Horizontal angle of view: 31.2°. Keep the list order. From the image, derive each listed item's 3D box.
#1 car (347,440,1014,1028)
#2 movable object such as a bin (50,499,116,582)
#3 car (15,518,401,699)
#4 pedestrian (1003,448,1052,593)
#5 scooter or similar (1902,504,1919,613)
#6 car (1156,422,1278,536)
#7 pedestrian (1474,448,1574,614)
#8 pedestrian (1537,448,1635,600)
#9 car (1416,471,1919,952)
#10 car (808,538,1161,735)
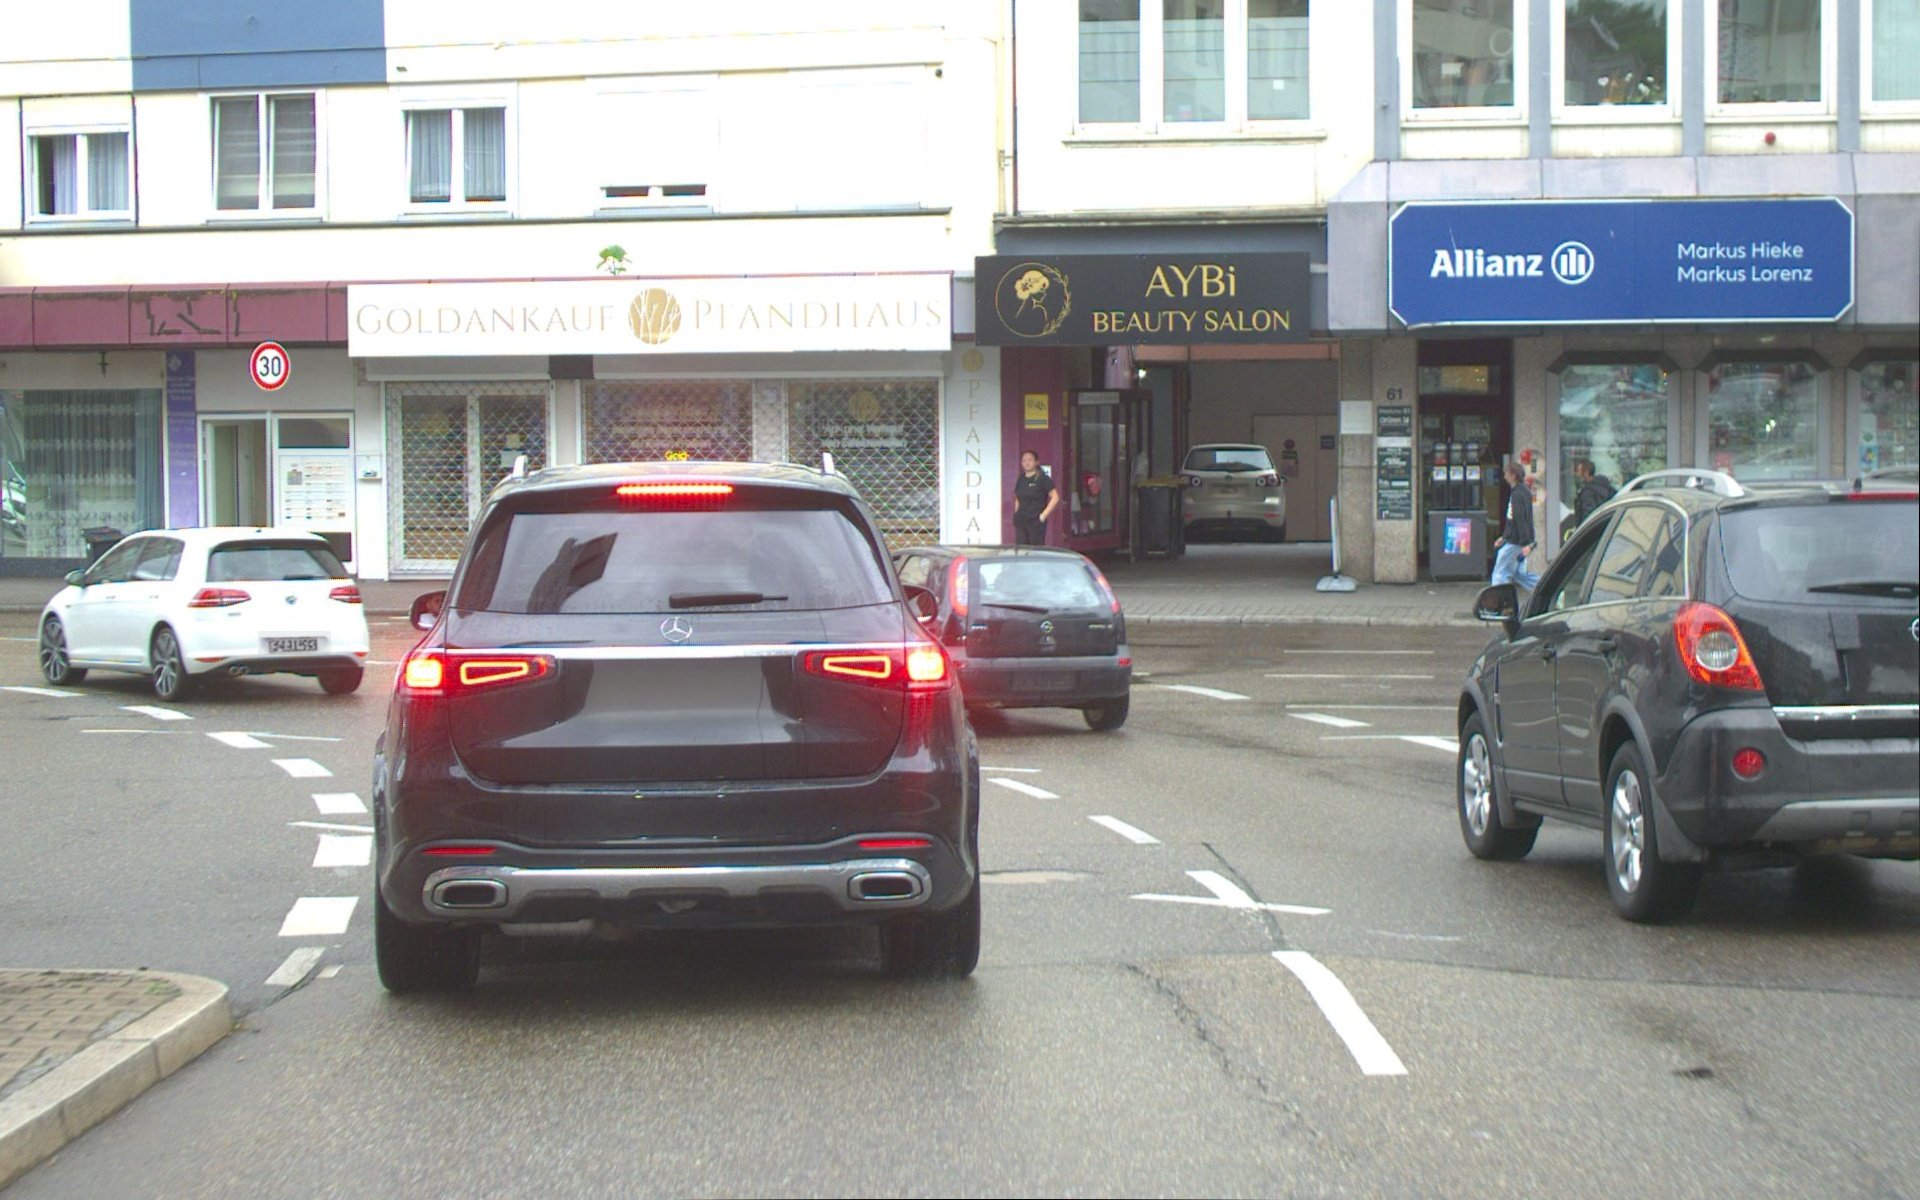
[{"bbox_3d":[-1.129,0.373,12.921,2.038,1.793,4.664,0,1,-7],"label":"car"},{"bbox_3d":[-11.063,-0.755,43.363,0.536,0.947,0.620,-9,10,-34],"label":"movable object such as a bin"},{"bbox_3d":[-6.795,0.028,30.741,1.873,1.489,4.400,0,1,-34],"label":"car"},{"bbox_3d":[0.820,-0.970,41.809,0.564,1.683,0.756,-1,7,1],"label":"pedestrian"},{"bbox_3d":[11.738,-0.455,39.788,1.513,1.206,0.621,2,7,11],"label":"scooter or similar"},{"bbox_3d":[3.964,-1.854,53.422,1.797,1.664,4.000,-1,1,4],"label":"car"},{"bbox_3d":[6.399,-0.790,39.045,1.030,1.793,0.830,0,7,4],"label":"pedestrian"},{"bbox_3d":[7.319,-0.897,40.239,1.030,1.683,0.830,-1,7,4],"label":"pedestrian"},{"bbox_3d":[3.330,0.320,14.535,1.897,1.689,4.506,-2,2,-4],"label":"car"},{"bbox_3d":[0.106,0.235,27.221,1.766,1.392,4.001,-2,1,-15],"label":"car"}]
